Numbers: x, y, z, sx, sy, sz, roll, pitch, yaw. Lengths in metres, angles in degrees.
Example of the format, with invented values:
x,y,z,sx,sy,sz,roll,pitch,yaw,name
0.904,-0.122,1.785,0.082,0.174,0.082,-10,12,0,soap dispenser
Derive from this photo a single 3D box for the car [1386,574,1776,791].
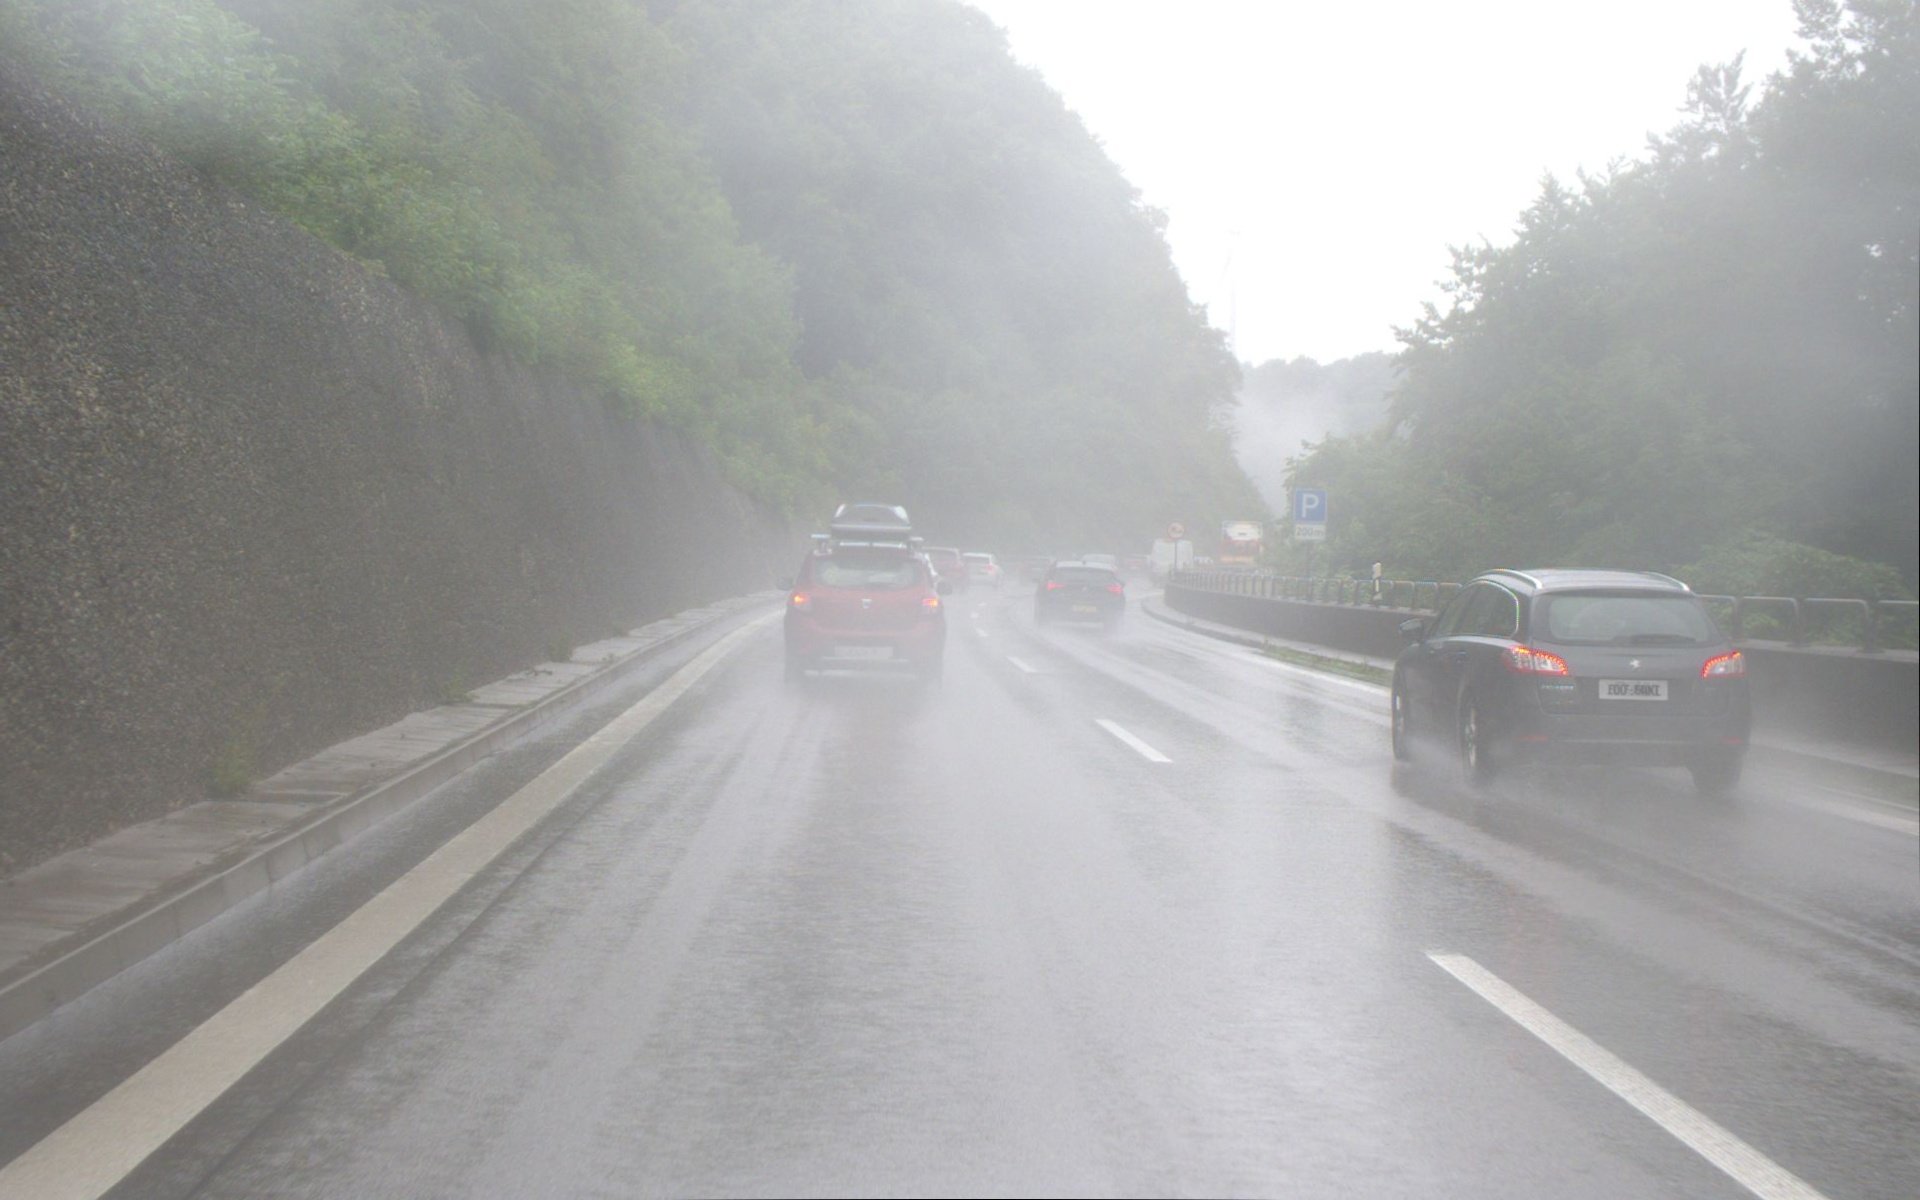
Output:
x,y,z,sx,sy,sz,roll,pitch,yaw,name
4.149,0.503,23.578,1.800,1.303,4.000,1,1,-2,car

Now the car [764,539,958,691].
x,y,z,sx,sy,sz,roll,pitch,yaw,name
-1.097,0.152,37.857,1.993,1.547,4.000,-1,0,-2,car

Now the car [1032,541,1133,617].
x,y,z,sx,sy,sz,roll,pitch,yaw,name
2.574,-0.466,72.953,1.993,1.546,4.000,0,1,0,car

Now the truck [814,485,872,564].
x,y,z,sx,sy,sz,roll,pitch,yaw,name
-4.141,-2.671,122.773,1.993,2.741,5.587,1,1,-1,truck

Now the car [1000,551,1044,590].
x,y,z,sx,sy,sz,roll,pitch,yaw,name
2.860,-1.385,159.568,1.993,1.743,4.000,0,1,0,car

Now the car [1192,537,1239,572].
x,y,z,sx,sy,sz,roll,pitch,yaw,name
15.438,-2.743,207.531,2.450,2.007,4.734,1,1,9,car

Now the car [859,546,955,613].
x,y,z,sx,sy,sz,roll,pitch,yaw,name
-1.165,-0.462,74.354,1.993,1.349,4.000,2,1,-1,car
